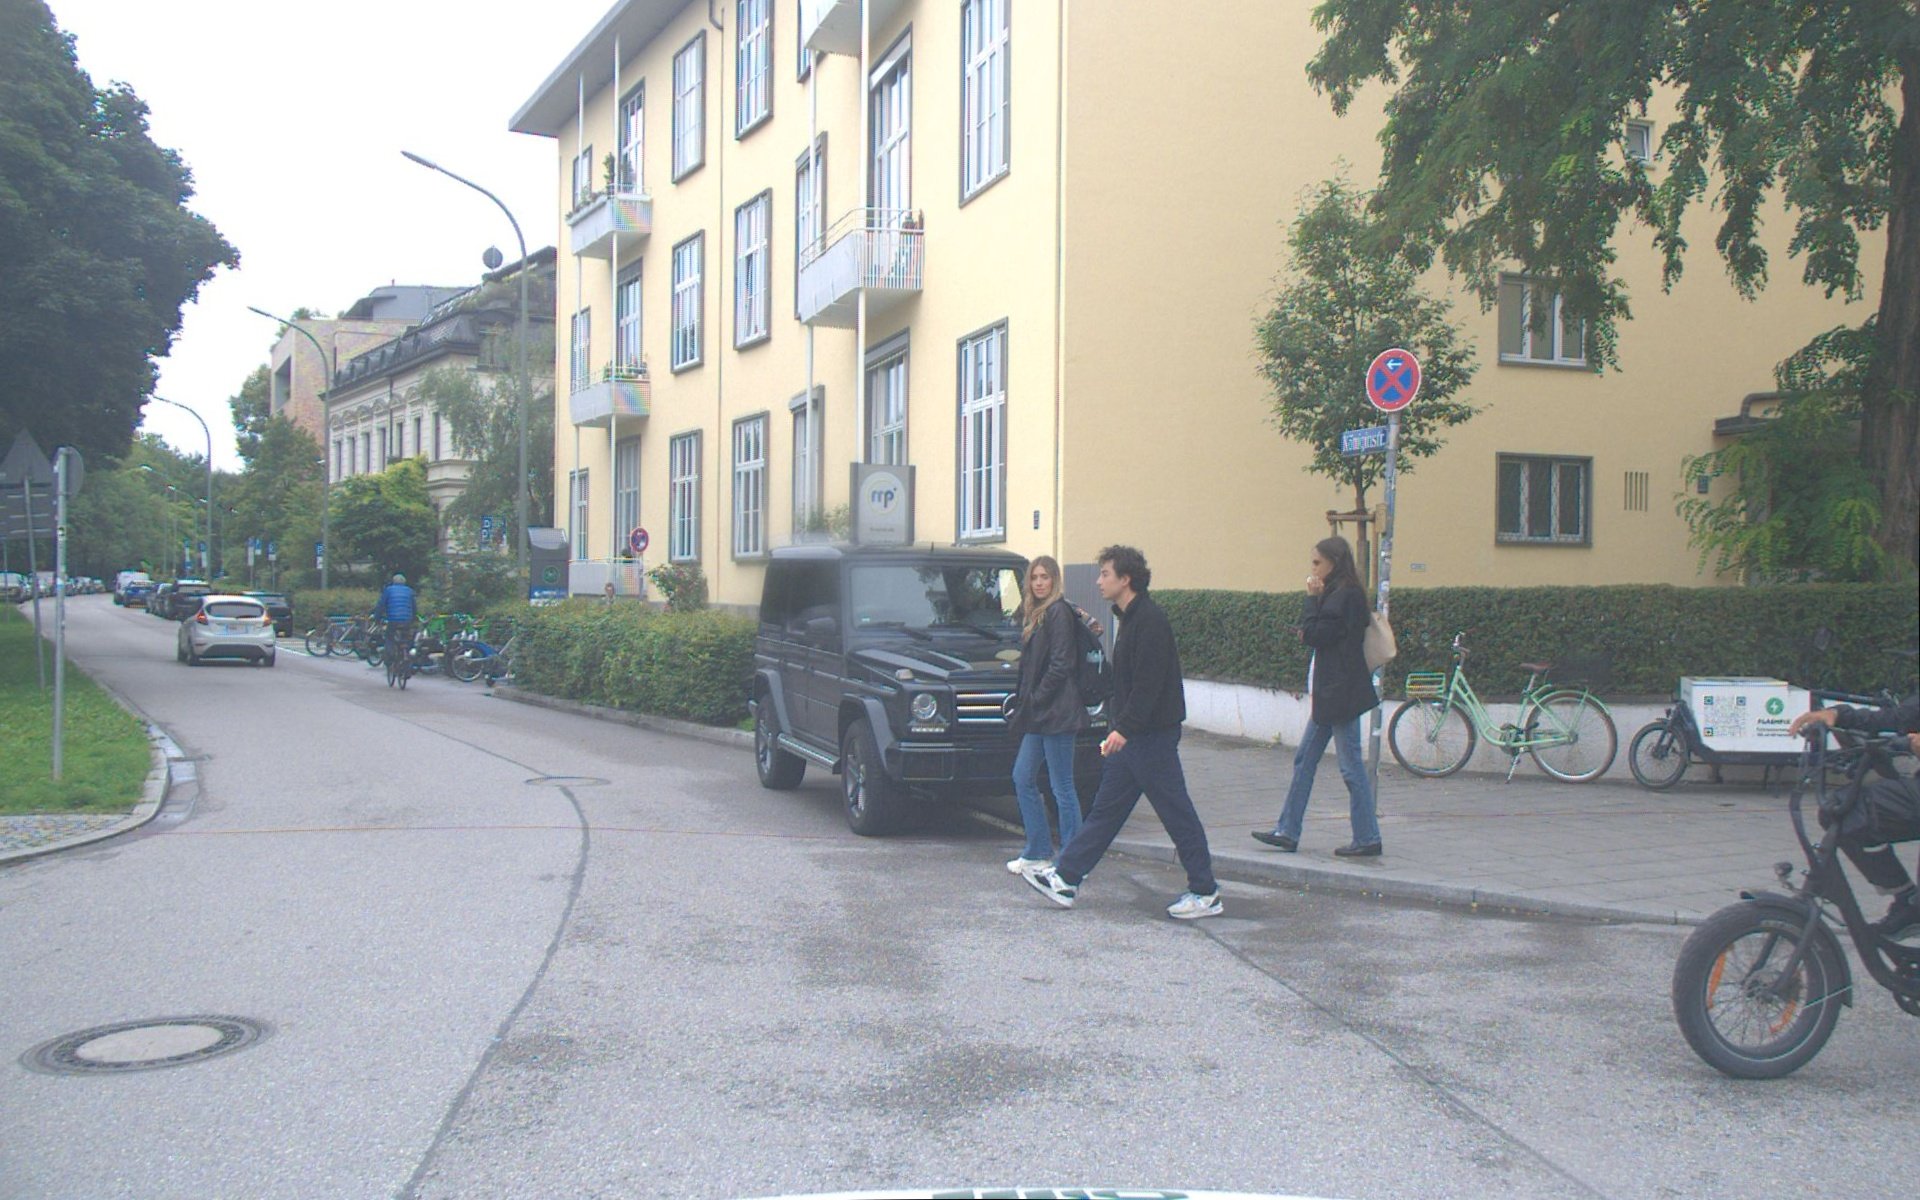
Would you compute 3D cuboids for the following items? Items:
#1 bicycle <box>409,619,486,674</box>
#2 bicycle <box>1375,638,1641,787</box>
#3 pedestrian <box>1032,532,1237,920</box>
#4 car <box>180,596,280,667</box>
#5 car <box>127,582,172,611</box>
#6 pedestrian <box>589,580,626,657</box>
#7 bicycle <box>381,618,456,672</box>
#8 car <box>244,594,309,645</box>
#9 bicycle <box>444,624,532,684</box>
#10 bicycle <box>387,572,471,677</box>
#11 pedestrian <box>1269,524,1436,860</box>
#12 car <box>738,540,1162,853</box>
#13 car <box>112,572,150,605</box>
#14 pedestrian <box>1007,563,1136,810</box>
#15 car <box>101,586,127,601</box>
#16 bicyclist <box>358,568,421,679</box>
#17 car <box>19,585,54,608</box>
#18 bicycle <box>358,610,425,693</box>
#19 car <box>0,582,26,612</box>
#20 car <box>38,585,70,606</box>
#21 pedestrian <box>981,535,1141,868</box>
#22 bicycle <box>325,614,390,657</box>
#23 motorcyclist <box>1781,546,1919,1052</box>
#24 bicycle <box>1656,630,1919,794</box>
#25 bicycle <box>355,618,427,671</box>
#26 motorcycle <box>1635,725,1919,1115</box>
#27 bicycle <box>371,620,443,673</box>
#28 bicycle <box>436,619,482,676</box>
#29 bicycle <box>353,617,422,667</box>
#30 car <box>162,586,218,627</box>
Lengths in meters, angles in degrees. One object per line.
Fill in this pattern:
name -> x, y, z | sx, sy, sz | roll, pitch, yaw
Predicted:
bicycle -> -10.215, 0.922, 33.014 | 0.360, 1.032, 1.530 | 0, 1, 38
bicycle -> 4.309, 0.870, 13.092 | 1.911, 1.104, 0.527 | -2, -2, 37
pedestrian -> 0.865, 0.600, 8.225 | 0.968, 1.841, 0.660 | 0, 0, 6
car -> -15.769, 0.644, 35.634 | 1.727, 1.431, 3.693 | 0, 0, -28
car -> -46.137, -0.204, 94.139 | 1.974, 1.628, 4.209 | 0, 0, -31
pedestrian -> -7.987, 0.418, 37.444 | 0.624, 1.713, 0.691 | -1, 0, -30
bicycle -> -11.038, 0.898, 33.771 | 0.401, 1.032, 1.533 | -1, 1, 34
car -> -22.539, 0.608, 54.496 | 1.628, 1.585, 3.526 | 0, 0, -29
bicycle -> -8.657, 0.979, 30.372 | 1.518, 1.032, 0.363 | -1, 1, -33
bicycle -> -10.651, 0.469, 33.242 | 0.447, 2.049, 1.672 | 0, 1, 34
pedestrian -> 2.286, 0.523, 9.722 | 0.832, 1.890, 0.767 | -1, 0, 6
car -> -0.312, 0.576, 12.651 | 1.846, 1.920, 4.592 | 0, 0, -20
car -> -51.111, -0.701, 101.974 | 2.042, 2.000, 4.932 | 0, 0, -27
pedestrian -> 0.830, 0.626, 12.534 | 0.832, 1.788, 0.953 | 0, 0, -5
car -> -88.338, -0.680, 172.794 | 1.966, 1.628, 4.438 | 0, 0, -22
bicyclist -> -9.492, 0.375, 27.501 | 0.902, 1.795, 1.206 | 0, 0, -23
car -> -66.486, -0.281, 119.126 | 1.969, 1.628, 4.430 | 0, 0, -26
bicycle -> -9.461, 0.826, 27.455 | 0.908, 1.274, 2.305 | 0, 0, -23
car -> -52.518, -0.181, 90.902 | 1.973, 1.628, 4.421 | 0, 0, -30
car -> -72.247, -0.377, 131.947 | 1.969, 1.628, 4.430 | 0, 0, -26
pedestrian -> 0.582, 0.539, 9.276 | 0.809, 1.776, 0.741 | 0, 0, 11
bicycle -> -15.197, 0.892, 41.727 | 0.402, 1.032, 1.528 | 0, 1, 43
motorcyclist -> 3.269, 0.600, 5.350 | 0.877, 1.527, 0.714 | 0, 0, 0
bicycle -> 6.279, 0.798, 12.067 | 2.121, 1.135, 0.641 | 0, 0, 10
bicycle -> -11.825, 0.920, 34.422 | 0.400, 1.032, 1.535 | -1, 1, 30
motorcycle -> 3.293, 0.993, 5.347 | 1.930, 1.117, 0.718 | 0, 0, 1
bicycle -> -11.405, 0.944, 34.162 | 0.400, 1.032, 1.535 | -1, 1, 30
bicycle -> -9.676, 0.905, 32.002 | 0.358, 1.032, 1.538 | -1, 1, 2
bicycle -> -12.490, 0.912, 36.125 | 0.400, 1.032, 1.535 | -1, 1, 30
car -> -33.098, 0.244, 71.074 | 1.775, 1.709, 3.957 | 0, 0, -31
